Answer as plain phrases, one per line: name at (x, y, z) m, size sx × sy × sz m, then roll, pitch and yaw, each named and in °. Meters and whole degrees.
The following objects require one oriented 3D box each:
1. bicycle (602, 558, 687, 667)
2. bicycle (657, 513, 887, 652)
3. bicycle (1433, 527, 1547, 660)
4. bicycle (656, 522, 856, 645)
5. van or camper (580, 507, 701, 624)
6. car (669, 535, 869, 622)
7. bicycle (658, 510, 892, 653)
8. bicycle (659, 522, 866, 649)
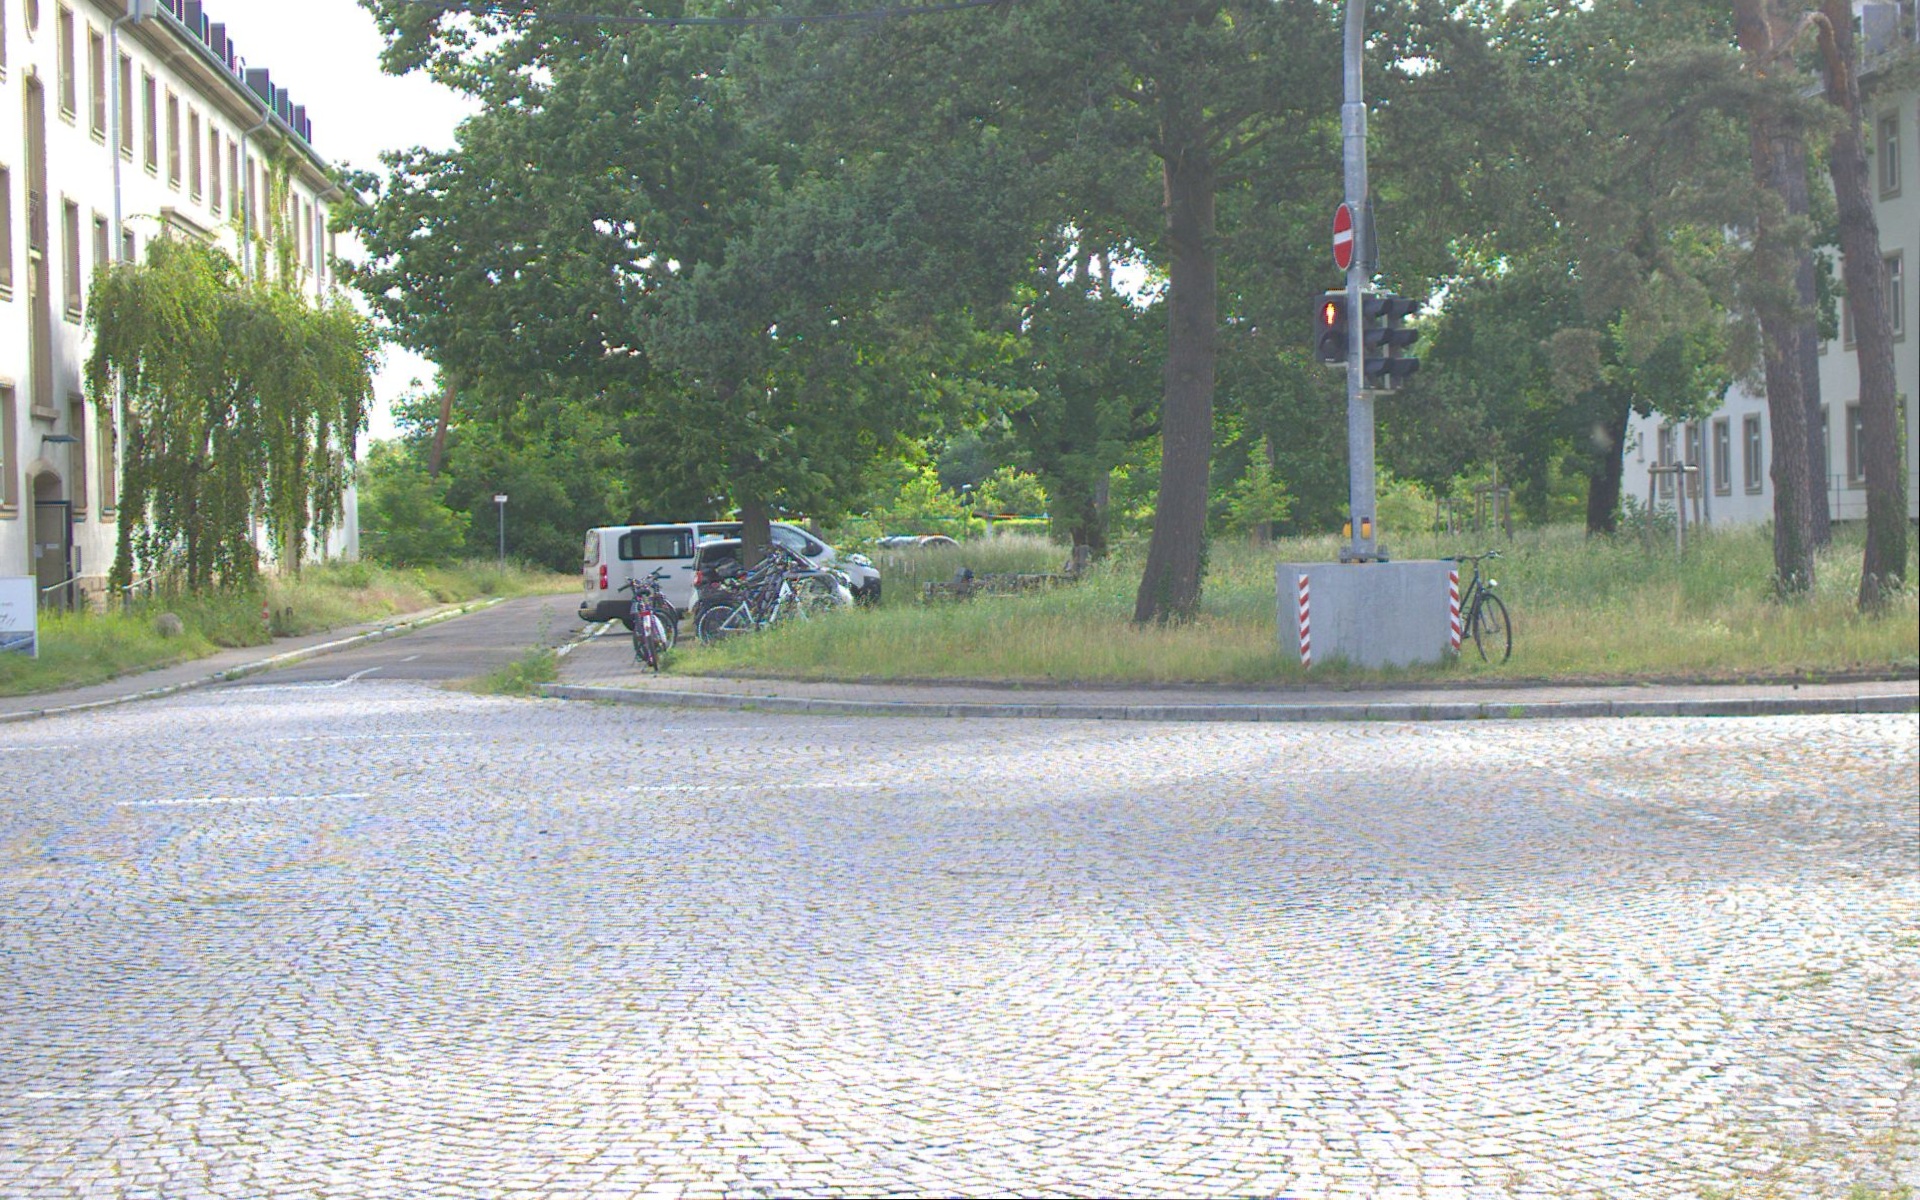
bicycle at (-3.514, 0.121, 38.503) m, size 0.725 × 1.104 × 2.462 m, roll -6°, pitch 1°, yaw -2°
bicycle at (-2.421, -0.238, 44.047) m, size 2.775 × 1.688 × 1.120 m, roll -2°, pitch 1°, yaw -11°
bicycle at (4.826, -0.075, 31.462) m, size 0.724 × 1.165 × 2.737 m, roll 0°, pitch 1°, yaw 3°
bicycle at (-2.891, -0.241, 48.933) m, size 2.775 × 1.688 × 1.120 m, roll 1°, pitch 1°, yaw -2°
van or camper at (-5.676, -0.643, 61.264) m, size 1.993 × 1.942 × 6.053 m, roll -1°, pitch 1°, yaw -5°
car at (-3.198, -0.370, 57.226) m, size 3.137 × 1.349 × 1.620 m, roll -1°, pitch 1°, yaw -9°
bicycle at (-2.315, -0.244, 42.857) m, size 2.775 × 1.688 × 1.120 m, roll -2°, pitch 1°, yaw -9°
bicycle at (-2.716, -0.204, 47.603) m, size 2.775 × 1.688 × 1.120 m, roll 1°, pitch 1°, yaw 0°
